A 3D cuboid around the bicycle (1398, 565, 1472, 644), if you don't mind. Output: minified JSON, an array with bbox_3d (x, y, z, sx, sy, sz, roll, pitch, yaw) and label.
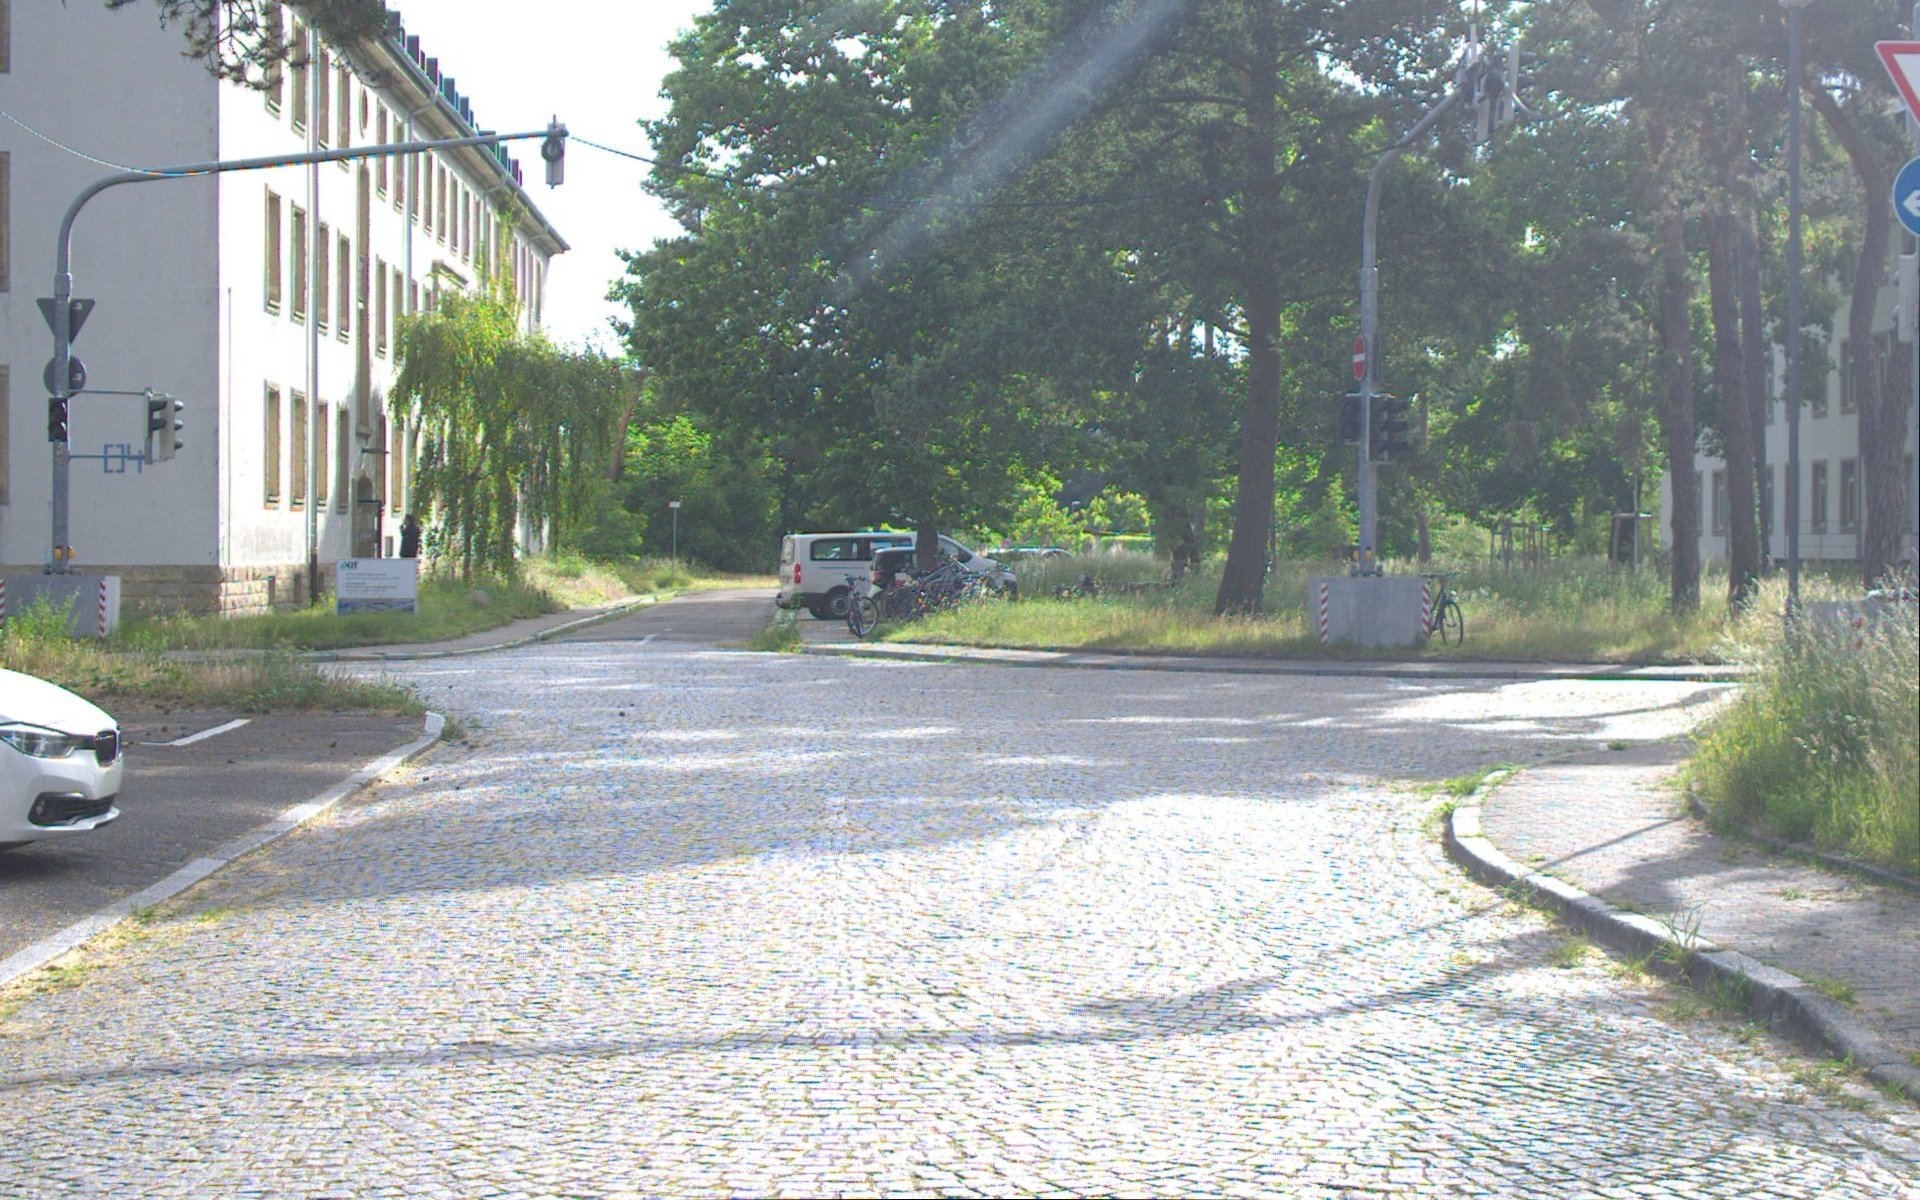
[{"bbox_3d":[6.380,0.048,46.243,0.562,0.995,1.752,0,2,-7],"label":"bicycle"}]

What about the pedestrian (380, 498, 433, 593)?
[{"bbox_3d":[-11.607,-1.142,72.144,0.985,1.956,0.933,1,0,-3],"label":"pedestrian"}]

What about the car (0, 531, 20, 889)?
[{"bbox_3d":[-5.943,0.404,13.339,4.120,1.594,1.859,3,0,-7],"label":"car"}]

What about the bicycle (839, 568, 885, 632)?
[{"bbox_3d":[-1.614,-0.005,56.553,0.728,0.995,1.799,0,2,-2],"label":"bicycle"}]

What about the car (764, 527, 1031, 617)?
[{"bbox_3d":[-1.391,-0.606,76.095,5.499,1.909,2.255,1,0,-16],"label":"car"}]

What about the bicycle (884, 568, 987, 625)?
[{"bbox_3d":[-0.444,-0.062,61.208,1.792,0.995,0.644,0,2,-3],"label":"bicycle"}]

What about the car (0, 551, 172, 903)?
[{"bbox_3d":[-6.144,0.440,15.877,4.586,1.450,1.904,3,2,-5],"label":"car"}]

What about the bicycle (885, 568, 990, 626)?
[{"bbox_3d":[-0.398,-0.055,60.189,1.792,0.995,0.644,0,2,-3],"label":"bicycle"}]

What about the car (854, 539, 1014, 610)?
[{"bbox_3d":[-0.568,-0.532,72.557,3.031,1.460,1.720,1,0,-15],"label":"car"}]
